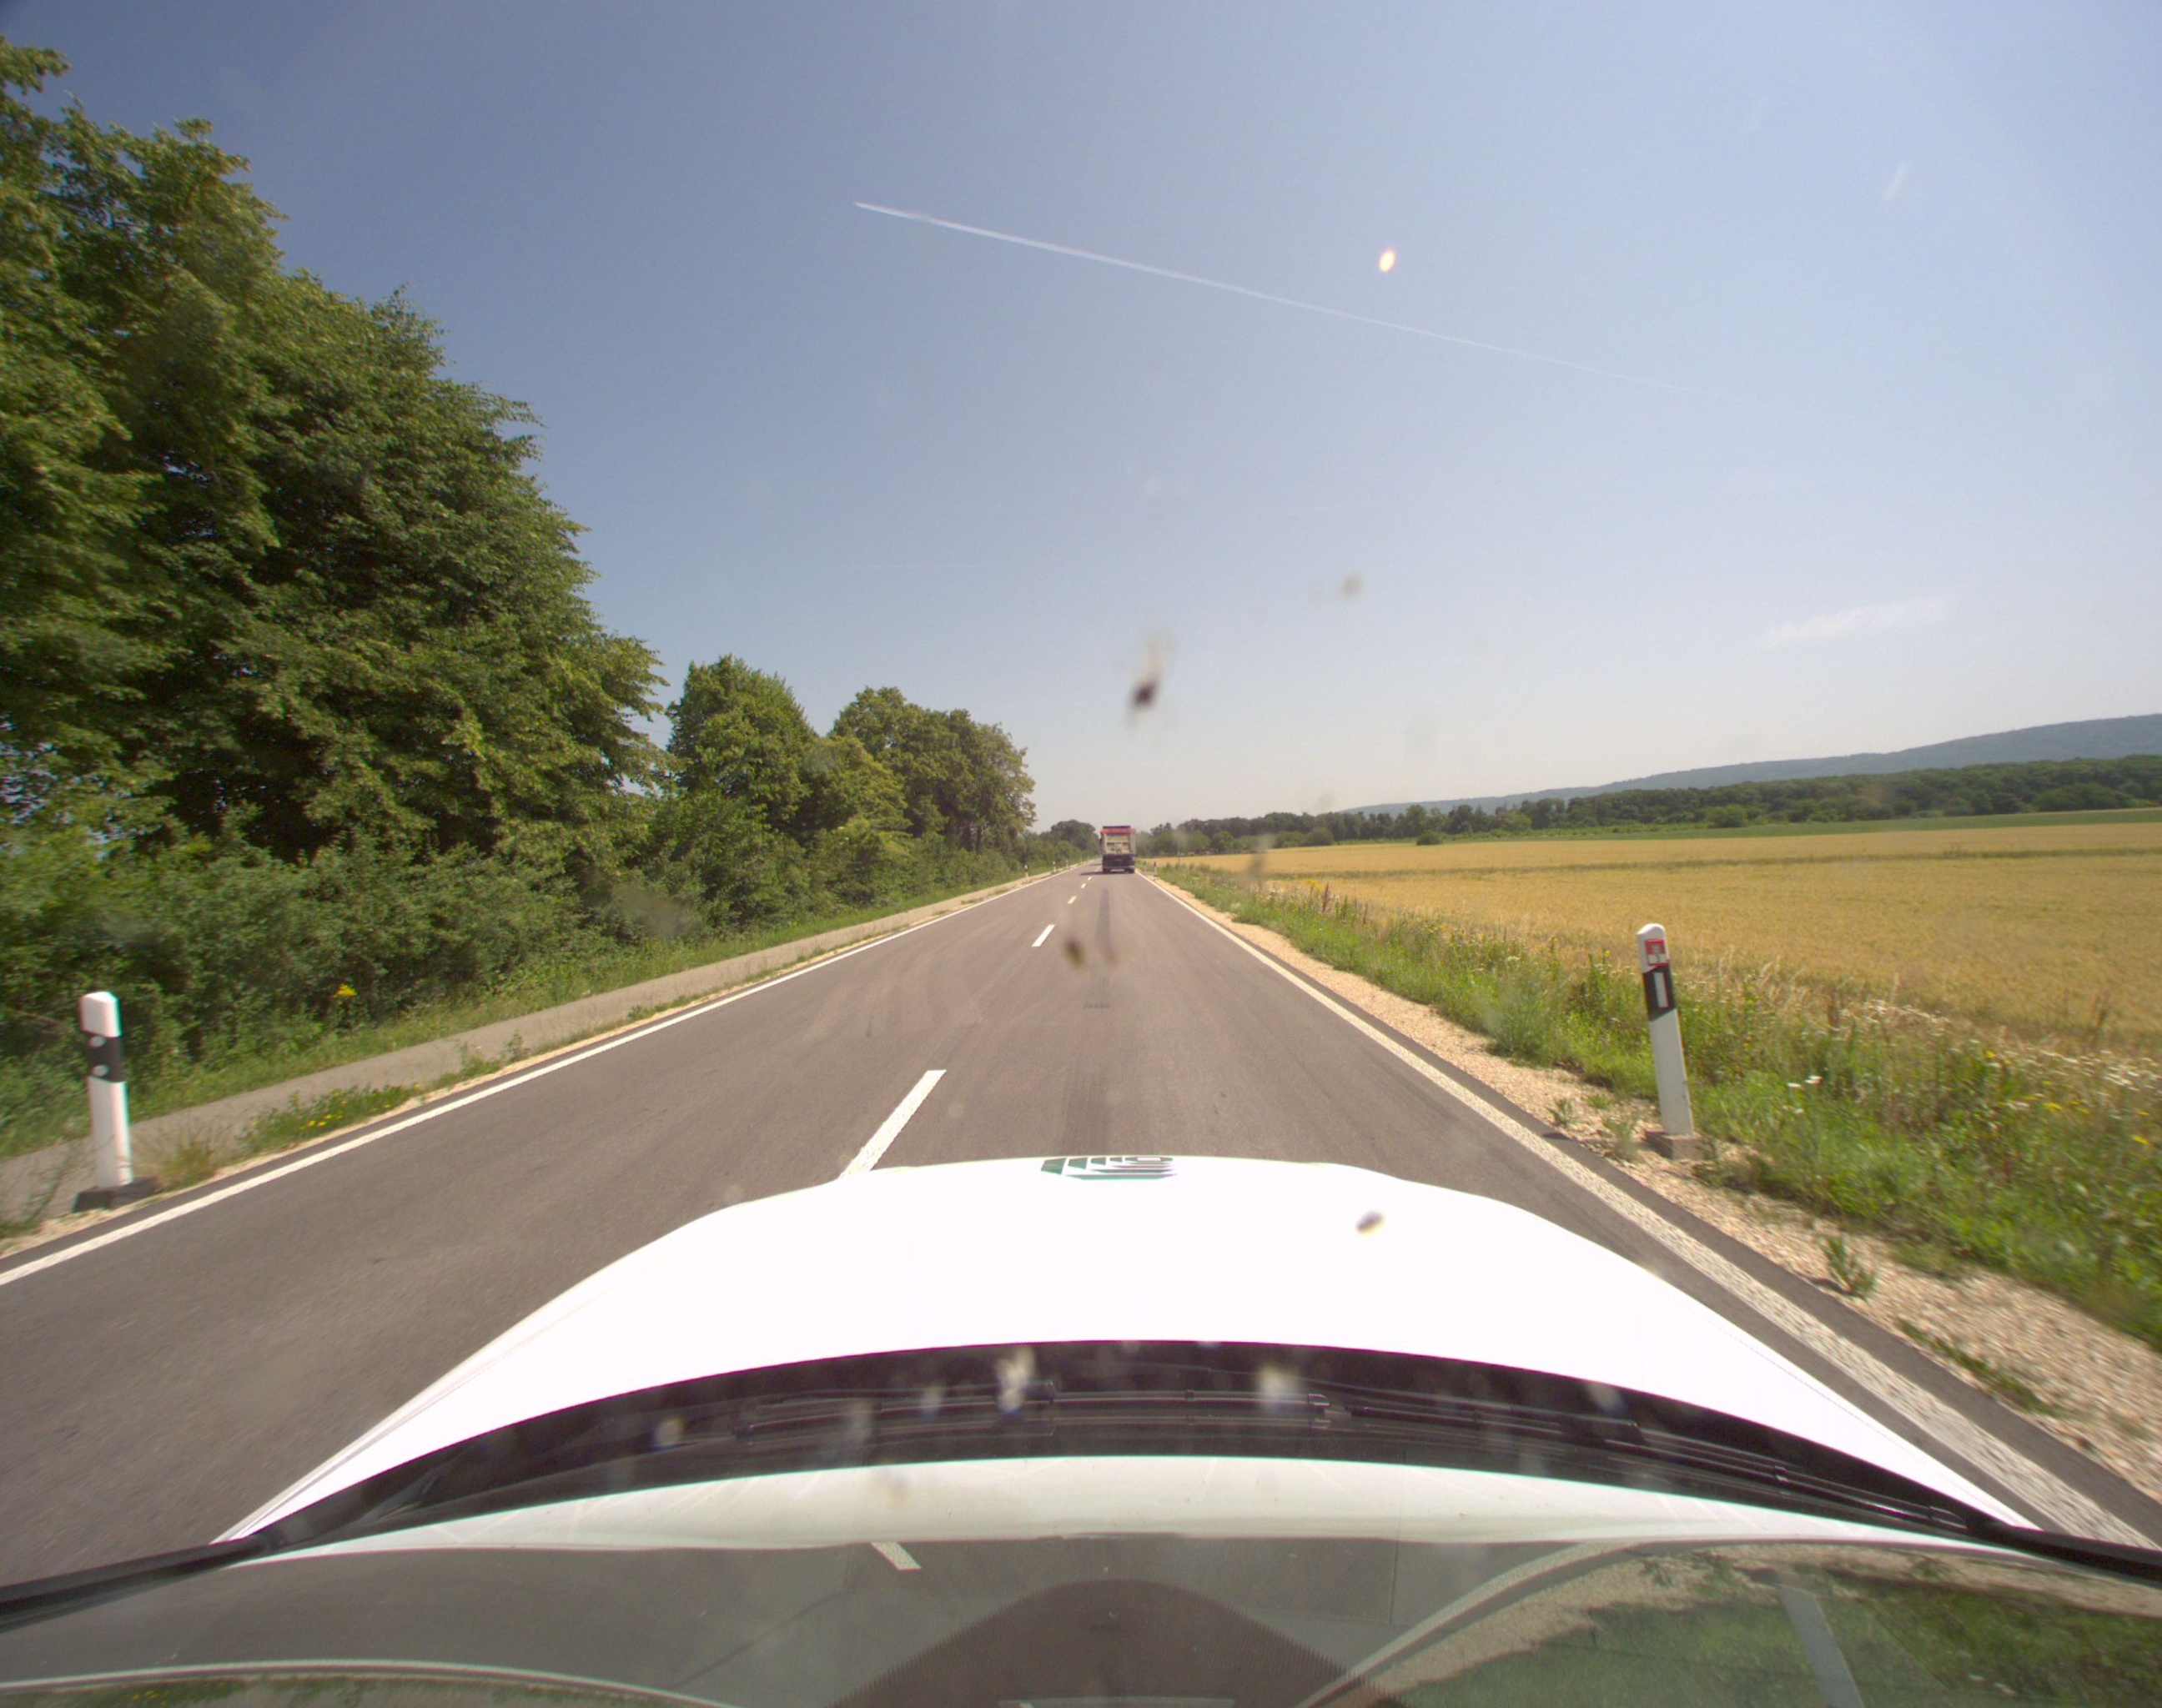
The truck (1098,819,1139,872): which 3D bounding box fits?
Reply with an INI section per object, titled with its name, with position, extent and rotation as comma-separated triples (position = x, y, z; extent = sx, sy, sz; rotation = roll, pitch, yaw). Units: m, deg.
[truck]
position = 3.006, -0.603, 66.459
extent = 2.998, 3.874, 12.214
rotation = -1, -1, 2
